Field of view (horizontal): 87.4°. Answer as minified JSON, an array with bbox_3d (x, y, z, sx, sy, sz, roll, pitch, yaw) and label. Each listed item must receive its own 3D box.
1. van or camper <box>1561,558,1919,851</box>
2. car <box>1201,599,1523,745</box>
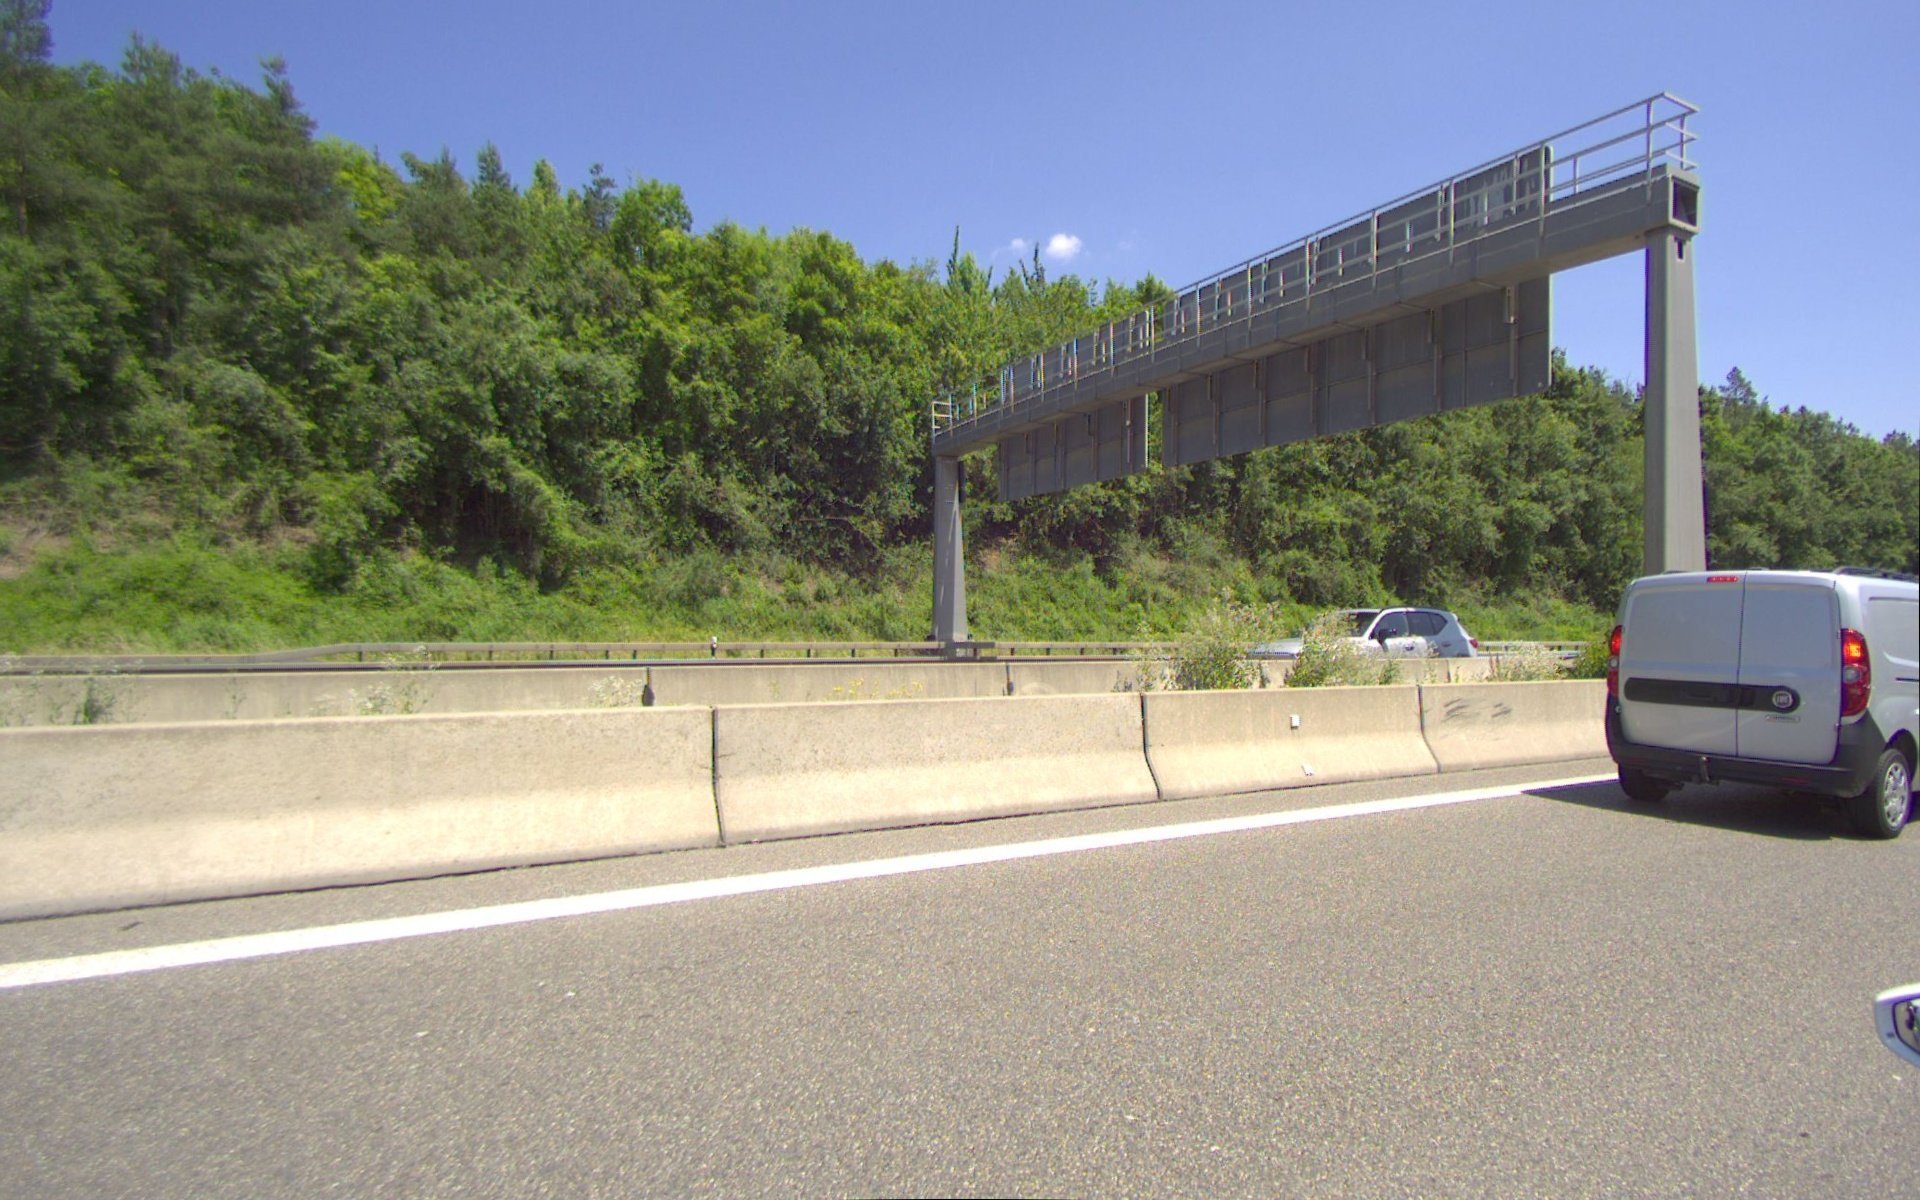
[{"bbox_3d":[7.285,0.720,8.470,4.507,1.905,1.844,1,0,-30],"label":"van or camper"},{"bbox_3d":[6.571,1.058,16.225,5.323,2.040,1.984,1,0,-30],"label":"car"}]
